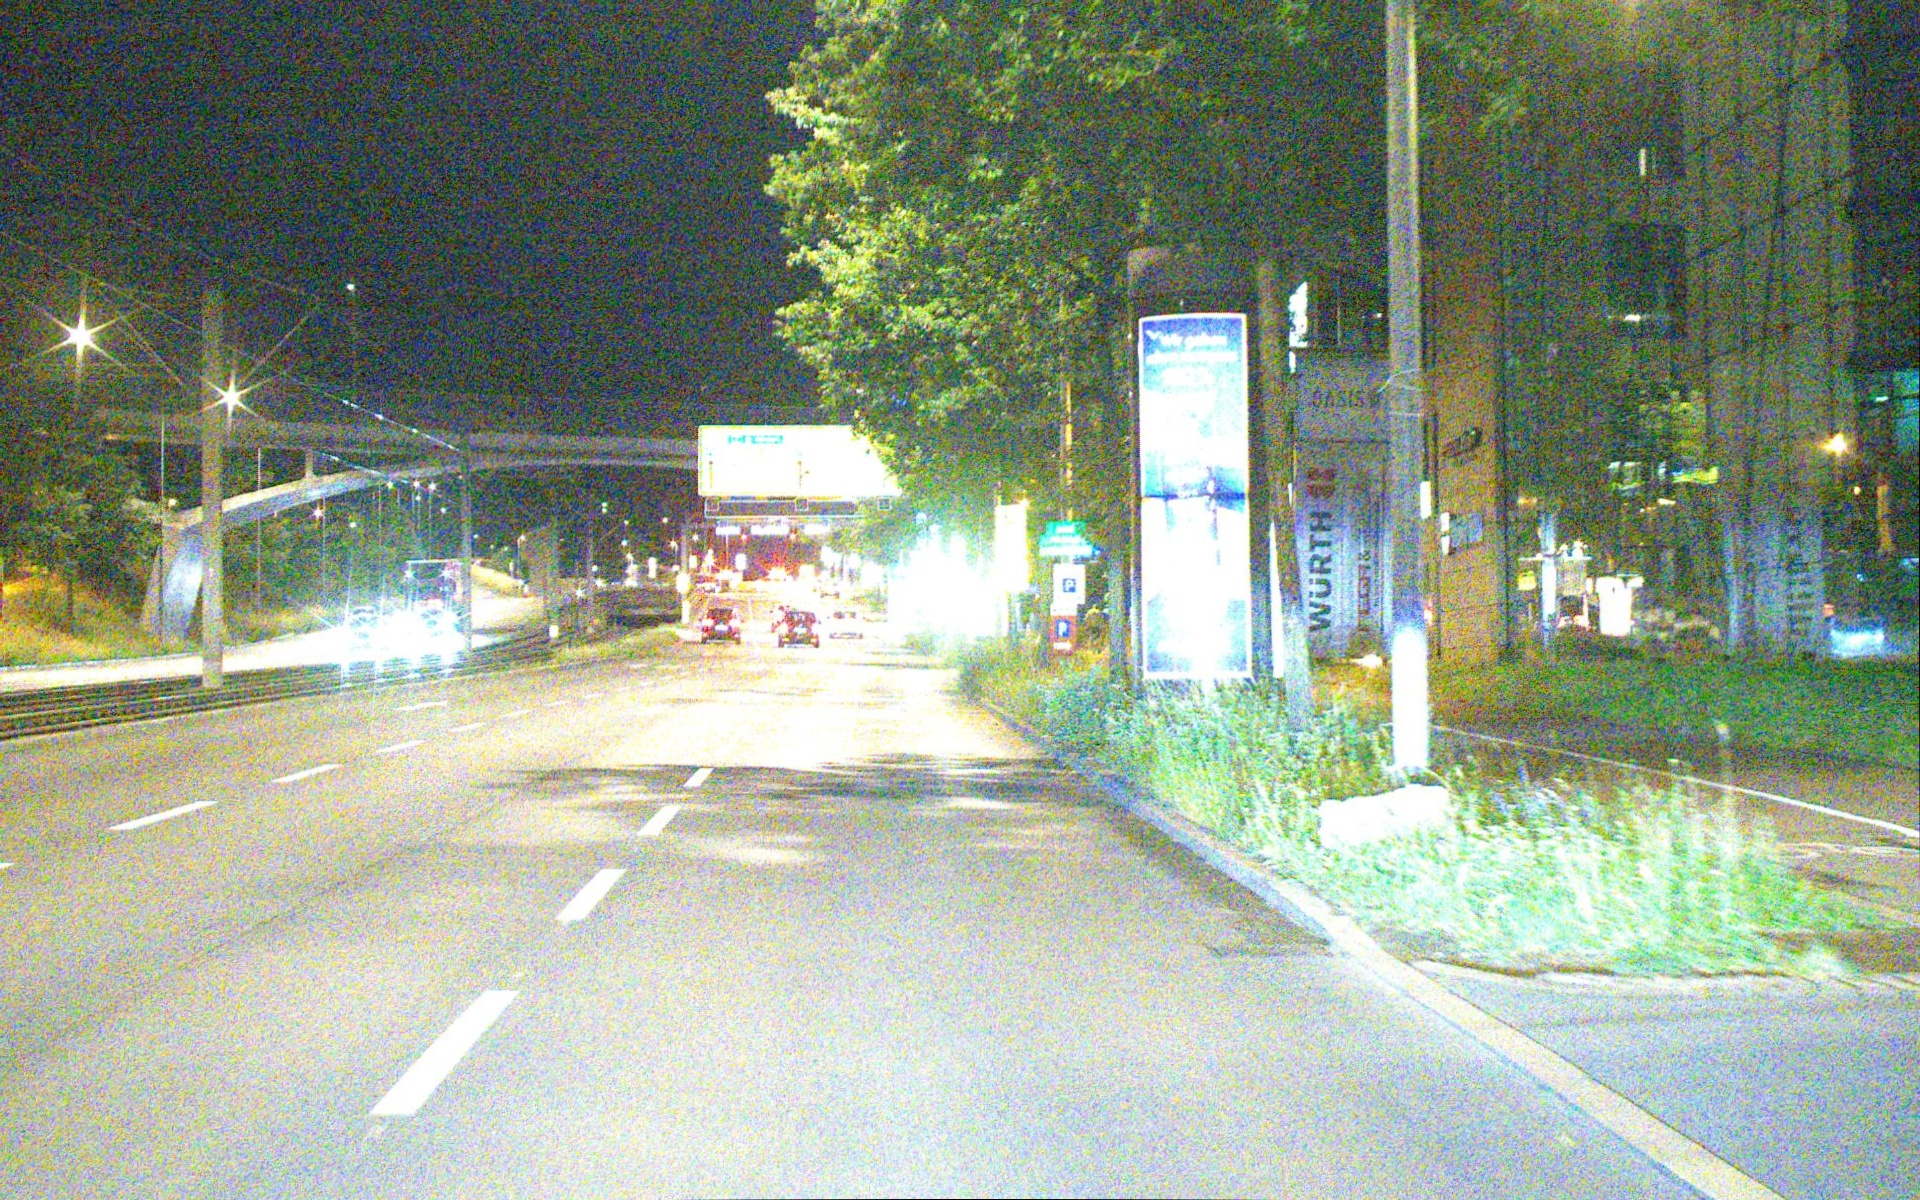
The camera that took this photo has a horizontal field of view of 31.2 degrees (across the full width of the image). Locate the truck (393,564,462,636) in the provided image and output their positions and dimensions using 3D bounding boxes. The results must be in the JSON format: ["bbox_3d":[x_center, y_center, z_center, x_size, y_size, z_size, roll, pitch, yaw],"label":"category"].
[{"bbox_3d":[-28.600,-0.007,184.778,3.040,3.806,4.935,0,0,-1],"label":"truck"}]

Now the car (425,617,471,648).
[{"bbox_3d":[-25.514,1.610,171.378,1.910,1.468,3.772,0,0,-2],"label":"car"}]

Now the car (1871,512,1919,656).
[{"bbox_3d":[14.032,-0.203,44.778,3.763,1.856,2.000,0,0,-25],"label":"car"}]

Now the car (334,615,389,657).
[{"bbox_3d":[-25.869,1.548,148.769,1.863,1.744,3.701,0,0,-2],"label":"car"}]

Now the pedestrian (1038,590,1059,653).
[{"bbox_3d":[3.395,0.825,132.101,0.745,2.427,0.779,1,0,1],"label":"pedestrian"}]

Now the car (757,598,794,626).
[{"bbox_3d":[-10.189,0.650,190.063,1.993,1.548,4.000,0,0,-2],"label":"car"}]

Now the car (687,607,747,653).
[{"bbox_3d":[-11.048,1.337,156.625,2.263,2.007,4.826,0,0,1],"label":"car"}]

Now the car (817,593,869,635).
[{"bbox_3d":[-6.087,0.705,178.875,2.427,2.106,4.826,0,0,1],"label":"car"}]

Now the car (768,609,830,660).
[{"bbox_3d":[-7.014,1.498,150.286,2.356,2.122,4.826,0,0,1],"label":"car"}]
